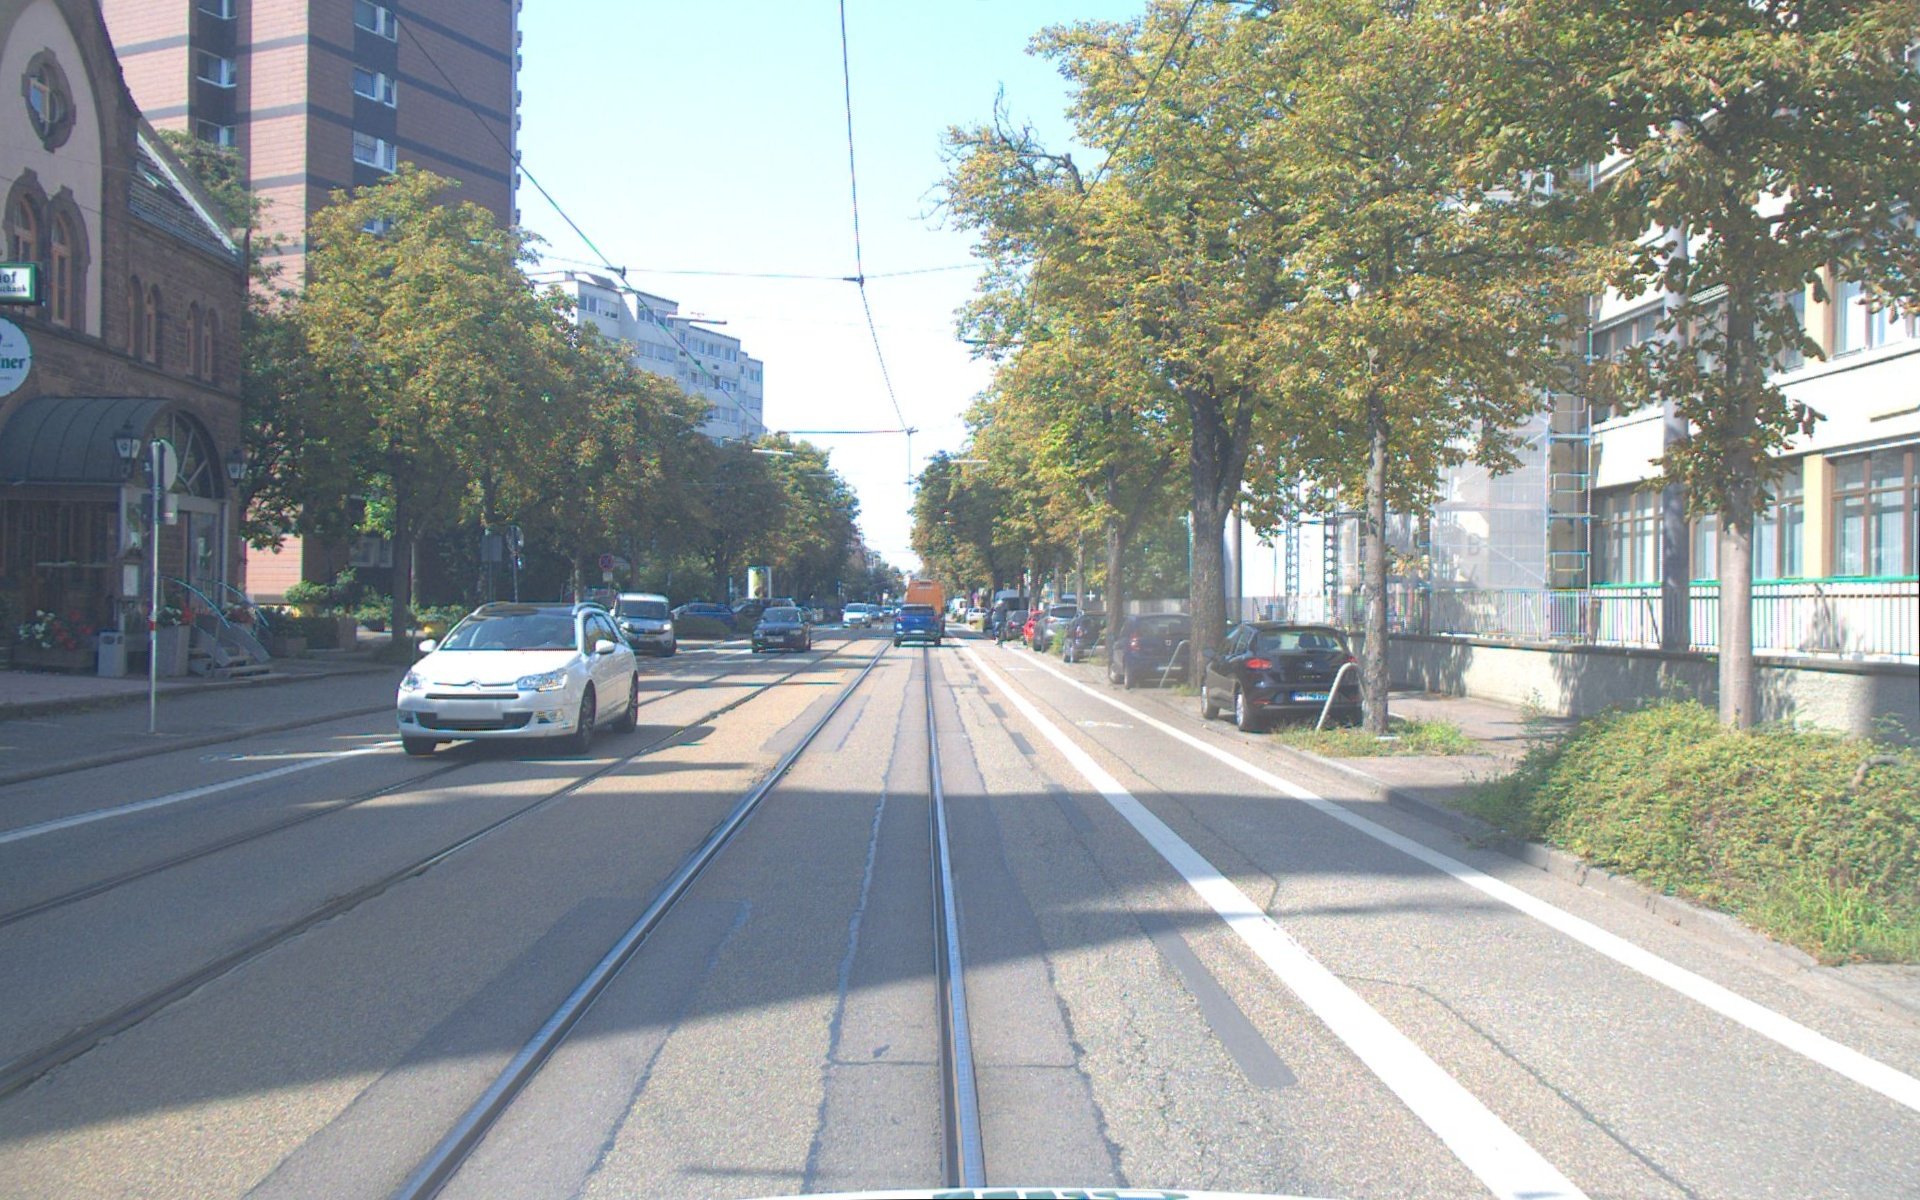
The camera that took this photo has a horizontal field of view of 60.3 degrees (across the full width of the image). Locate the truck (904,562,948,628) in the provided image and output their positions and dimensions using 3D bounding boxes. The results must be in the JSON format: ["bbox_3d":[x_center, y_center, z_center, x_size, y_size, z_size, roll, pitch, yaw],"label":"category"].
[{"bbox_3d":[-1.690,-0.243,82.044,2.092,3.179,6.083,0,0,-1],"label":"truck"}]

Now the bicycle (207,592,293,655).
[{"bbox_3d":[-13.922,0.458,32.462,1.423,1.112,0.399,4,-1,-6],"label":"bicycle"}]

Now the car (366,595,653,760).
[{"bbox_3d":[-4.679,0.728,17.964,1.809,1.518,4.866,1,0,-1],"label":"car"}]

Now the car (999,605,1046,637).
[{"bbox_3d":[2.954,0.980,78.771,1.869,1.457,4.290,1,0,-2],"label":"car"}]

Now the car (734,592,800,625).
[{"bbox_3d":[-12.529,0.557,107.577,3.970,2.049,1.826,1,0,-45],"label":"car"}]

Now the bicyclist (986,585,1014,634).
[{"bbox_3d":[1.522,0.360,62.976,1.011,1.844,1.016,1,0,-2],"label":"bicyclist"}]

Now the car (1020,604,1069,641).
[{"bbox_3d":[3.491,0.916,68.645,1.705,1.488,3.682,1,0,-2],"label":"car"}]

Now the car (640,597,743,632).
[{"bbox_3d":[-12.947,0.701,79.750,4.511,1.580,1.984,1,0,-25],"label":"car"}]

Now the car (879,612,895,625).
[{"bbox_3d":[-8.980,2.270,203.877,1.860,1.589,4.120,1,0,-3],"label":"car"}]

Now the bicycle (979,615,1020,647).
[{"bbox_3d":[1.477,1.165,62.974,1.373,1.154,3.999,1,0,-1],"label":"bicycle"}]

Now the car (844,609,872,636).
[{"bbox_3d":[-6.911,1.490,112.100,1.744,1.713,4.345,1,0,-2],"label":"car"}]

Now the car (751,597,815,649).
[{"bbox_3d":[-5.727,0.727,53.939,1.647,1.599,4.205,1,0,-1],"label":"car"}]

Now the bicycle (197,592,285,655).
[{"bbox_3d":[-13.909,0.458,32.012,1.423,1.112,0.399,4,-1,-6],"label":"bicycle"}]

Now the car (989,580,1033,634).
[{"bbox_3d":[2.722,0.364,89.361,1.953,2.804,5.758,1,0,-2],"label":"car"}]

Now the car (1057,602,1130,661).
[{"bbox_3d":[3.839,0.870,48.177,1.601,1.612,4.186,1,0,-2],"label":"car"}]

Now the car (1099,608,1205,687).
[{"bbox_3d":[4.004,0.957,35.082,1.707,1.583,4.216,0,0,-1],"label":"car"}]

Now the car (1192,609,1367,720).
[{"bbox_3d":[4.439,0.848,23.542,1.625,1.432,4.216,0,0,-1],"label":"car"}]

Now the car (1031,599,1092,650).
[{"bbox_3d":[3.536,0.817,58.264,1.705,1.697,4.360,1,0,-2],"label":"car"}]

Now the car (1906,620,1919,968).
[{"bbox_3d":[4.999,0.829,5.173,1.625,1.507,4.216,0,0,-1],"label":"car"}]

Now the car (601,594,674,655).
[{"bbox_3d":[-10.147,0.731,51.830,1.720,1.828,3.979,1,0,-18],"label":"car"}]

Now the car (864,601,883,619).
[{"bbox_3d":[-7.794,0.890,149.501,1.601,1.612,4.186,1,0,-2],"label":"car"}]

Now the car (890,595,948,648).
[{"bbox_3d":[-1.517,0.784,62.579,2.092,1.891,5.566,0,0,-1],"label":"car"}]
